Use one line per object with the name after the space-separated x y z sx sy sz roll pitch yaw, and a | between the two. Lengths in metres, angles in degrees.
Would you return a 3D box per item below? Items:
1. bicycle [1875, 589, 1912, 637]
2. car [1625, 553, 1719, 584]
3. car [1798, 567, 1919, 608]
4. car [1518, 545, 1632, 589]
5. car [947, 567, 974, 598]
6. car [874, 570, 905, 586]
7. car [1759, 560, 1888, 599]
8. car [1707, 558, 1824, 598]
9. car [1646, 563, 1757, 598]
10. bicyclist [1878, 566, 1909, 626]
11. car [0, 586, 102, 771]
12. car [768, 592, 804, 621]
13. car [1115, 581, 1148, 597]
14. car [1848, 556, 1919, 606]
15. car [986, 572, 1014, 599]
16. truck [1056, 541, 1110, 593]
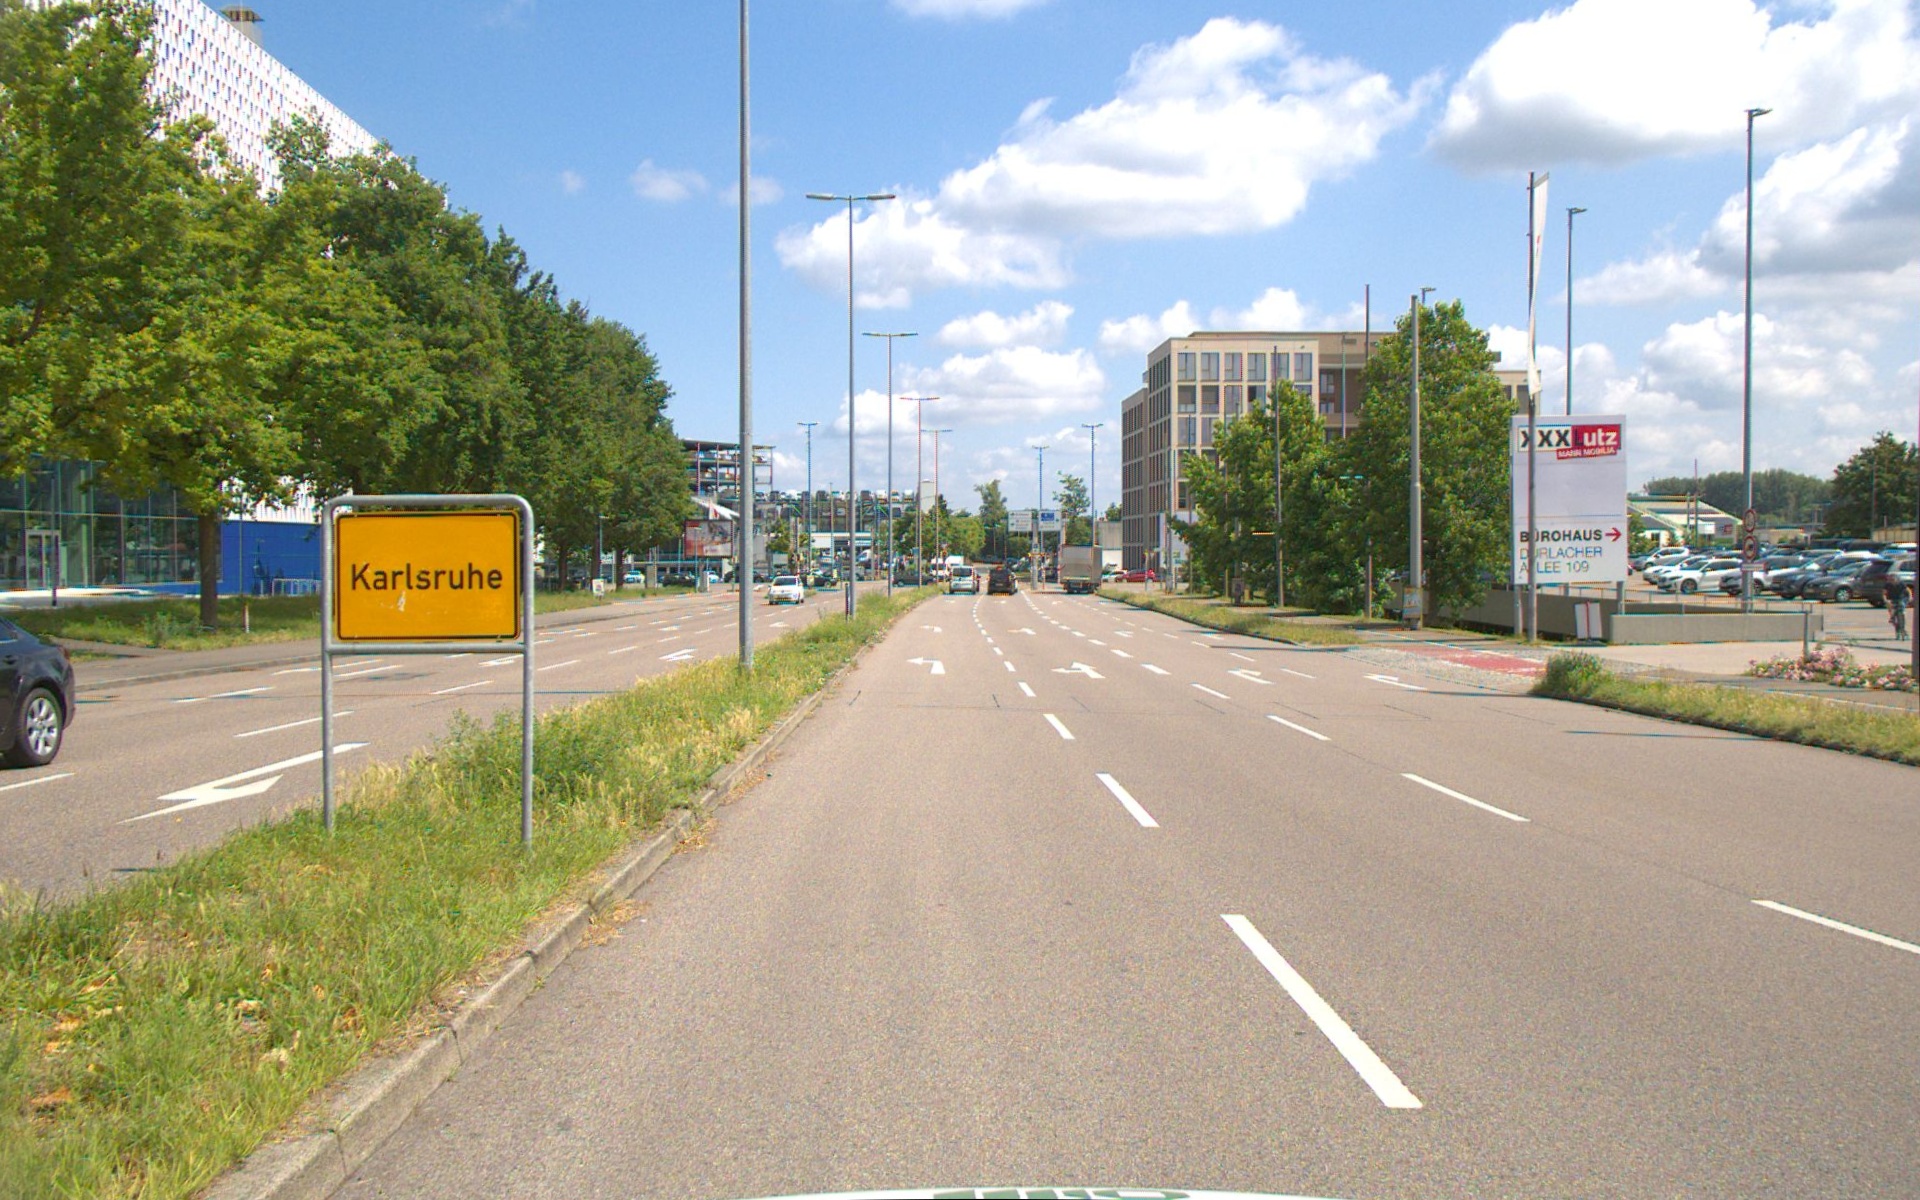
22.653 0.309 40.168 0.611 1.086 1.967 -1 1 25 | bicycle
36.921 -1.649 85.804 4.099 1.459 1.726 -2 1 -1 | car
33.109 -0.473 60.235 4.271 1.348 1.764 -2 1 -2 | car
33.980 -1.827 91.515 5.545 2.407 2.061 0 0 -3 | car
0.014 -1.258 117.230 1.818 2.053 4.000 1 1 0 | car
-9.141 -2.824 213.091 3.909 1.959 1.825 0 1 -5 | car
33.170 -0.805 63.604 4.098 1.348 1.688 -2 1 -1 | car
33.475 -0.910 68.829 3.907 1.598 1.999 0 0 -3 | car
33.018 -0.865 73.684 4.101 1.413 1.892 -2 1 -4 | car
22.617 -0.105 40.088 0.603 1.437 0.714 0 1 25 | bicyclist
-8.329 0.654 12.224 1.630 1.446 4.518 -2 0 -1 | car
-9.294 0.310 88.448 1.610 1.453 3.669 -2 1 -2 | car
17.304 -1.130 166.824 3.206 1.428 1.335 0 10 -1 | car
32.924 -0.676 56.345 4.271 1.601 2.030 -2 1 -2 | car
2.849 -1.037 117.890 1.781 1.840 4.003 1 1 4 | car
9.854 -2.690 131.850 3.063 4.009 8.867 0 2 12 | truck
